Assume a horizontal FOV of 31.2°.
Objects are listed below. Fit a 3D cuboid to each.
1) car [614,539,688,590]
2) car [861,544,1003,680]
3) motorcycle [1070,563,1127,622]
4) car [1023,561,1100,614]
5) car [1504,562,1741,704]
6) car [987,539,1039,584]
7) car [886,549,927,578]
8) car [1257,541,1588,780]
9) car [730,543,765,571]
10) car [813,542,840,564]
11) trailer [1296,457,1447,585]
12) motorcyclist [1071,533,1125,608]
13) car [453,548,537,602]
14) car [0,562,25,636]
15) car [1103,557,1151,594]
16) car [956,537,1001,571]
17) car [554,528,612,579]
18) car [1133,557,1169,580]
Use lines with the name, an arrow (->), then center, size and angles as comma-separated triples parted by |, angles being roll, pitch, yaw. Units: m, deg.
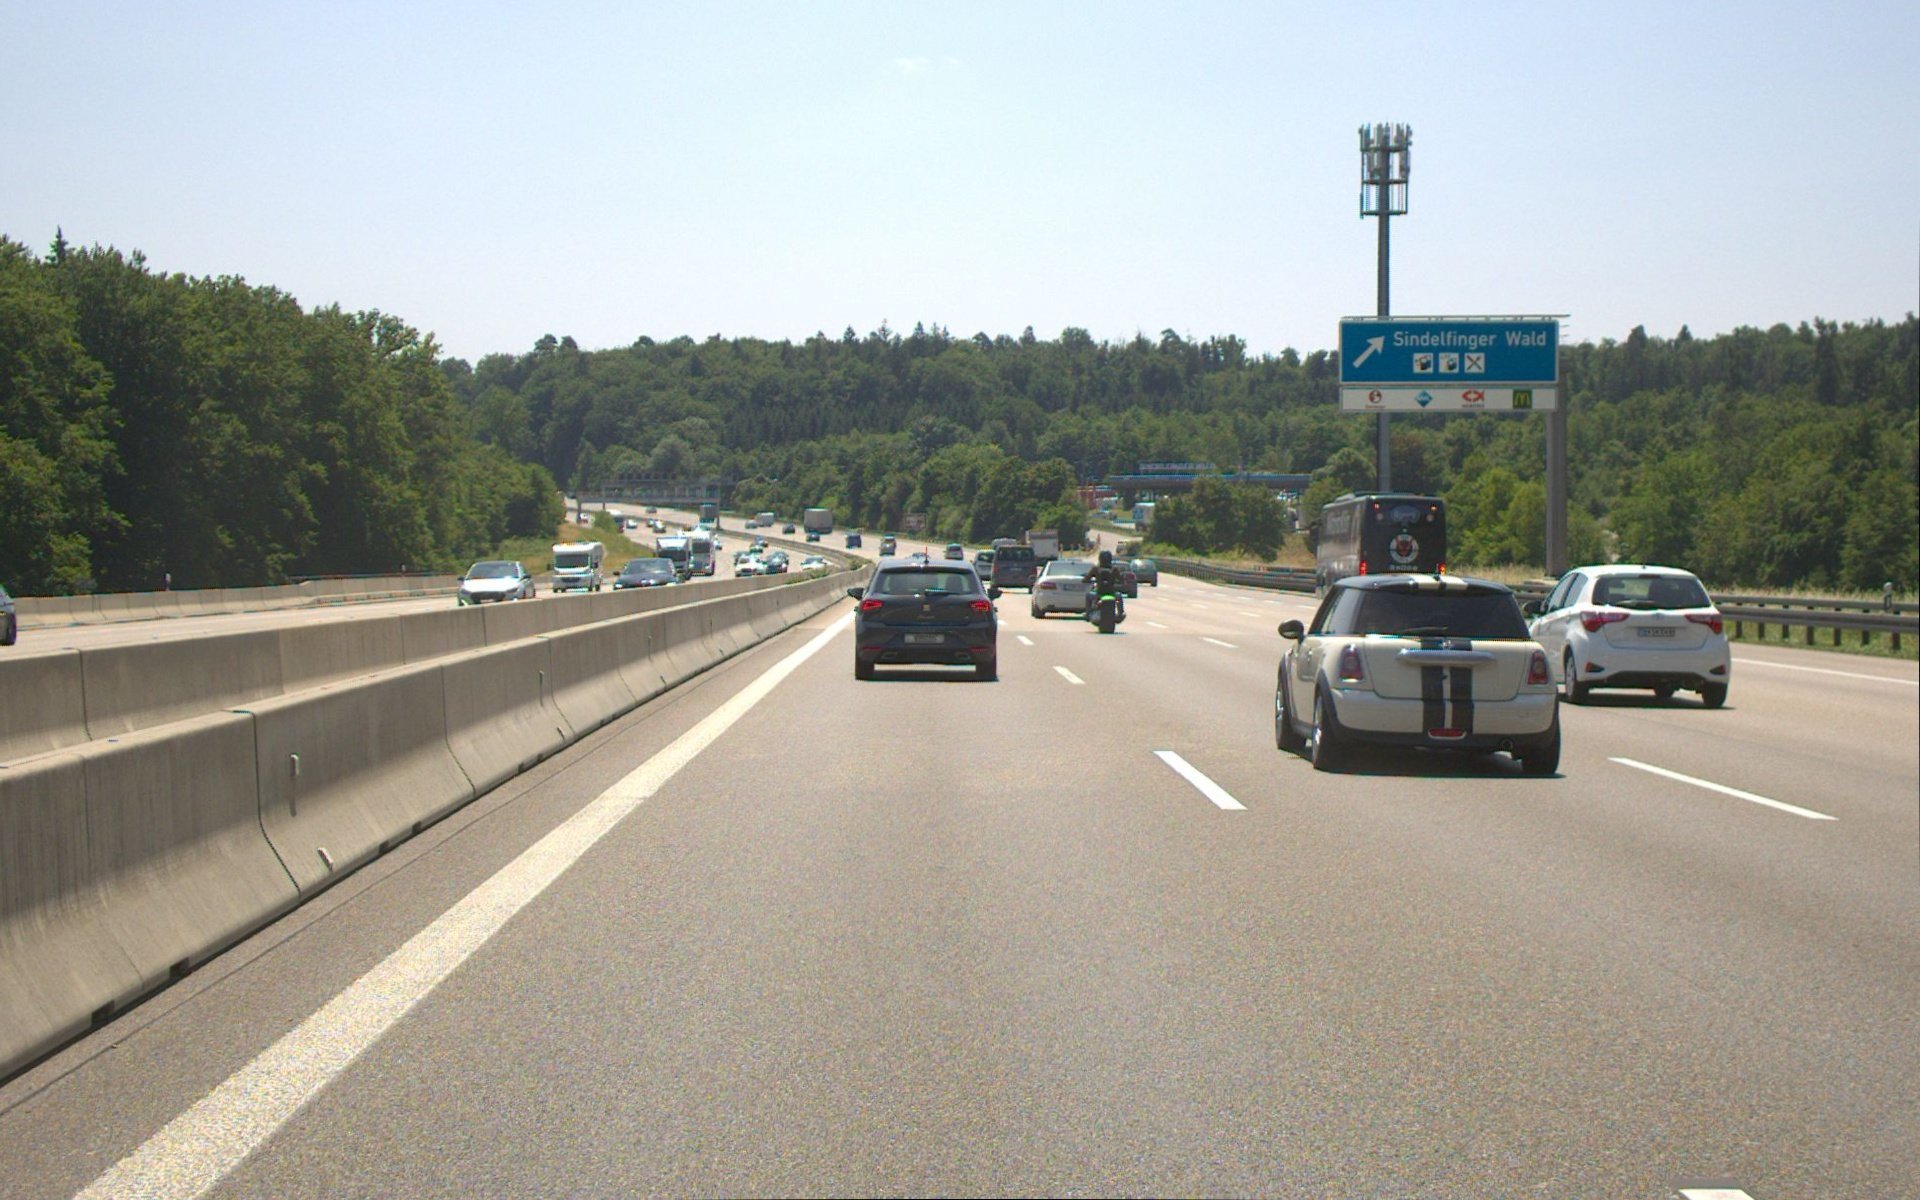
car -> -8.913, -1.053, 99.472 | 1.838, 1.436, 4.845 | 0, 1, -1
car -> -0.336, 0.114, 41.834 | 1.624, 1.482, 3.686 | 1, 2, 0
motorcycle -> 2.732, -0.163, 68.089 | 0.977, 1.125, 2.271 | 0, 1, -1
car -> 2.526, -0.327, 86.194 | 1.782, 1.261, 3.460 | 0, 1, 0
car -> 7.205, 0.322, 37.793 | 1.666, 1.428, 4.376 | 0, 1, -1
car -> 2.196, -1.622, 143.552 | 2.097, 1.845, 4.081 | 0, 1, 0
car -> -2.329, -1.586, 148.507 | 1.536, 1.208, 3.460 | -1, 1, -4
car -> 3.320, 0.379, 25.393 | 1.841, 1.546, 4.000 | 2, 1, 0
car -> -13.978, -2.836, 226.129 | 1.993, 1.781, 5.319 | -2, 1, -1
car -> -9.882, -3.483, 255.087 | 1.848, 1.518, 5.319 | -2, 1, -1
trailer -> 12.585, -2.349, 106.340 | 2.857, 3.675, 13.543 | -1, 1, -1
motorcyclist -> 2.723, -0.584, 68.022 | 0.962, 1.432, 1.235 | -1, 1, -1
car -> -12.734, -0.695, 94.310 | 1.838, 1.436, 4.000 | 0, 1, -1
car -> -19.664, 0.024, 66.666 | 1.839, 1.436, 4.764 | -2, 1, -1
car -> 6.547, -0.966, 135.114 | 1.675, 1.427, 3.685 | 0, 1, 0
car -> 0.966, -2.473, 184.004 | 1.993, 1.678, 4.425 | 1, 2, -5
car -> -20.448, -2.535, 186.612 | 2.221, 2.650, 8.176 | -2, 1, 0
car -> 10.319, -1.718, 185.522 | 1.608, 1.208, 3.460 | -1, 1, -2
